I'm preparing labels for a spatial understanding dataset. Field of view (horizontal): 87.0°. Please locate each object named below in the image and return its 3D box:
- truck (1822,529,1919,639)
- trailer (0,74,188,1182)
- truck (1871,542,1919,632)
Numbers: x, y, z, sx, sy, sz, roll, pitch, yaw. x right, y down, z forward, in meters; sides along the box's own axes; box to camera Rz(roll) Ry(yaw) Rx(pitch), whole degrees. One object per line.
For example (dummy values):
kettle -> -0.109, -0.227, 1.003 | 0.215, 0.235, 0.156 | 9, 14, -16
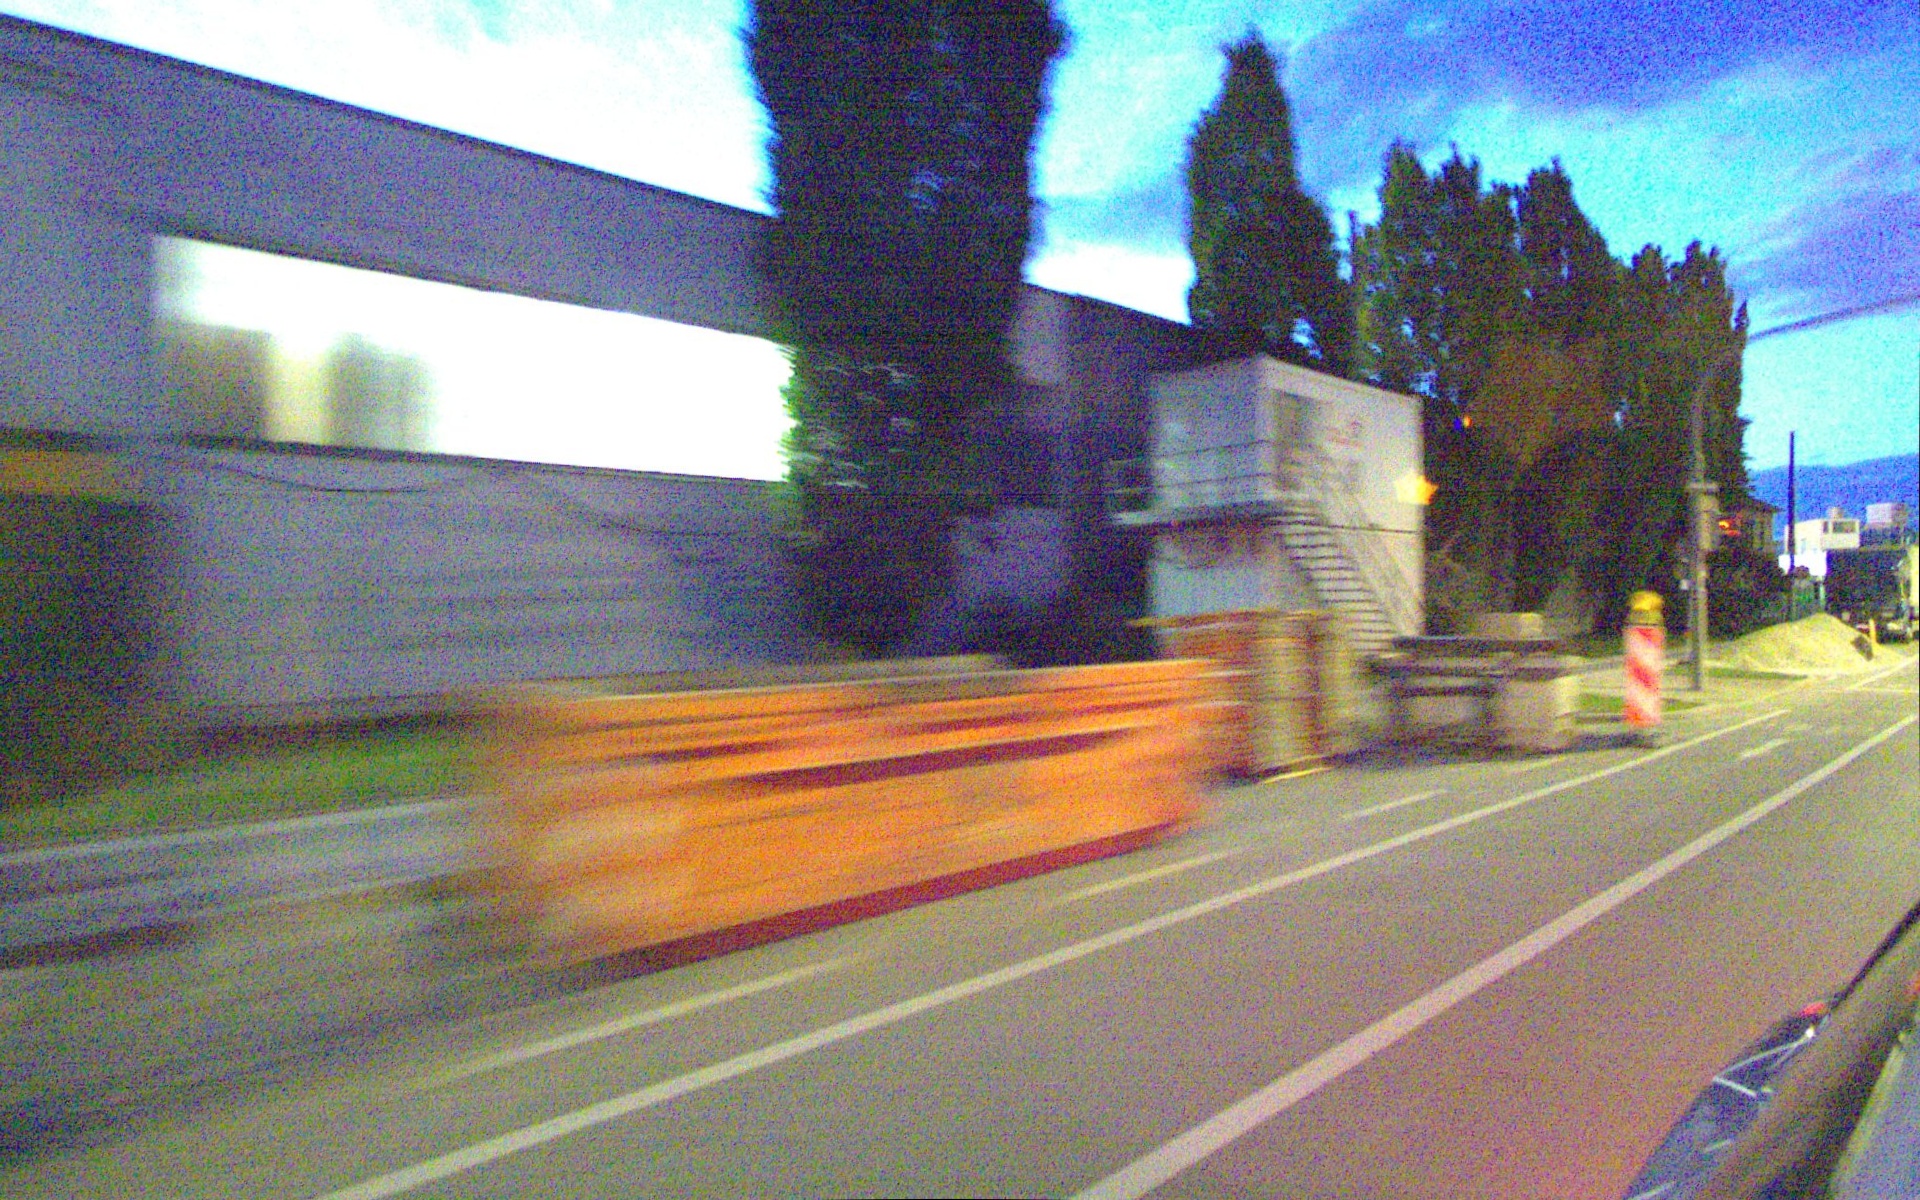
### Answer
truck -> 36.561, -0.636, 39.690 | 10.049, 3.831, 2.759 | -1, 0, -41
trailer -> -4.782, 0.130, 2.218 | 4.632, 2.882, 2.614 | -1, -1, -44
truck -> 44.179, -0.631, 46.205 | 8.977, 3.831, 2.760 | -1, 0, -41
